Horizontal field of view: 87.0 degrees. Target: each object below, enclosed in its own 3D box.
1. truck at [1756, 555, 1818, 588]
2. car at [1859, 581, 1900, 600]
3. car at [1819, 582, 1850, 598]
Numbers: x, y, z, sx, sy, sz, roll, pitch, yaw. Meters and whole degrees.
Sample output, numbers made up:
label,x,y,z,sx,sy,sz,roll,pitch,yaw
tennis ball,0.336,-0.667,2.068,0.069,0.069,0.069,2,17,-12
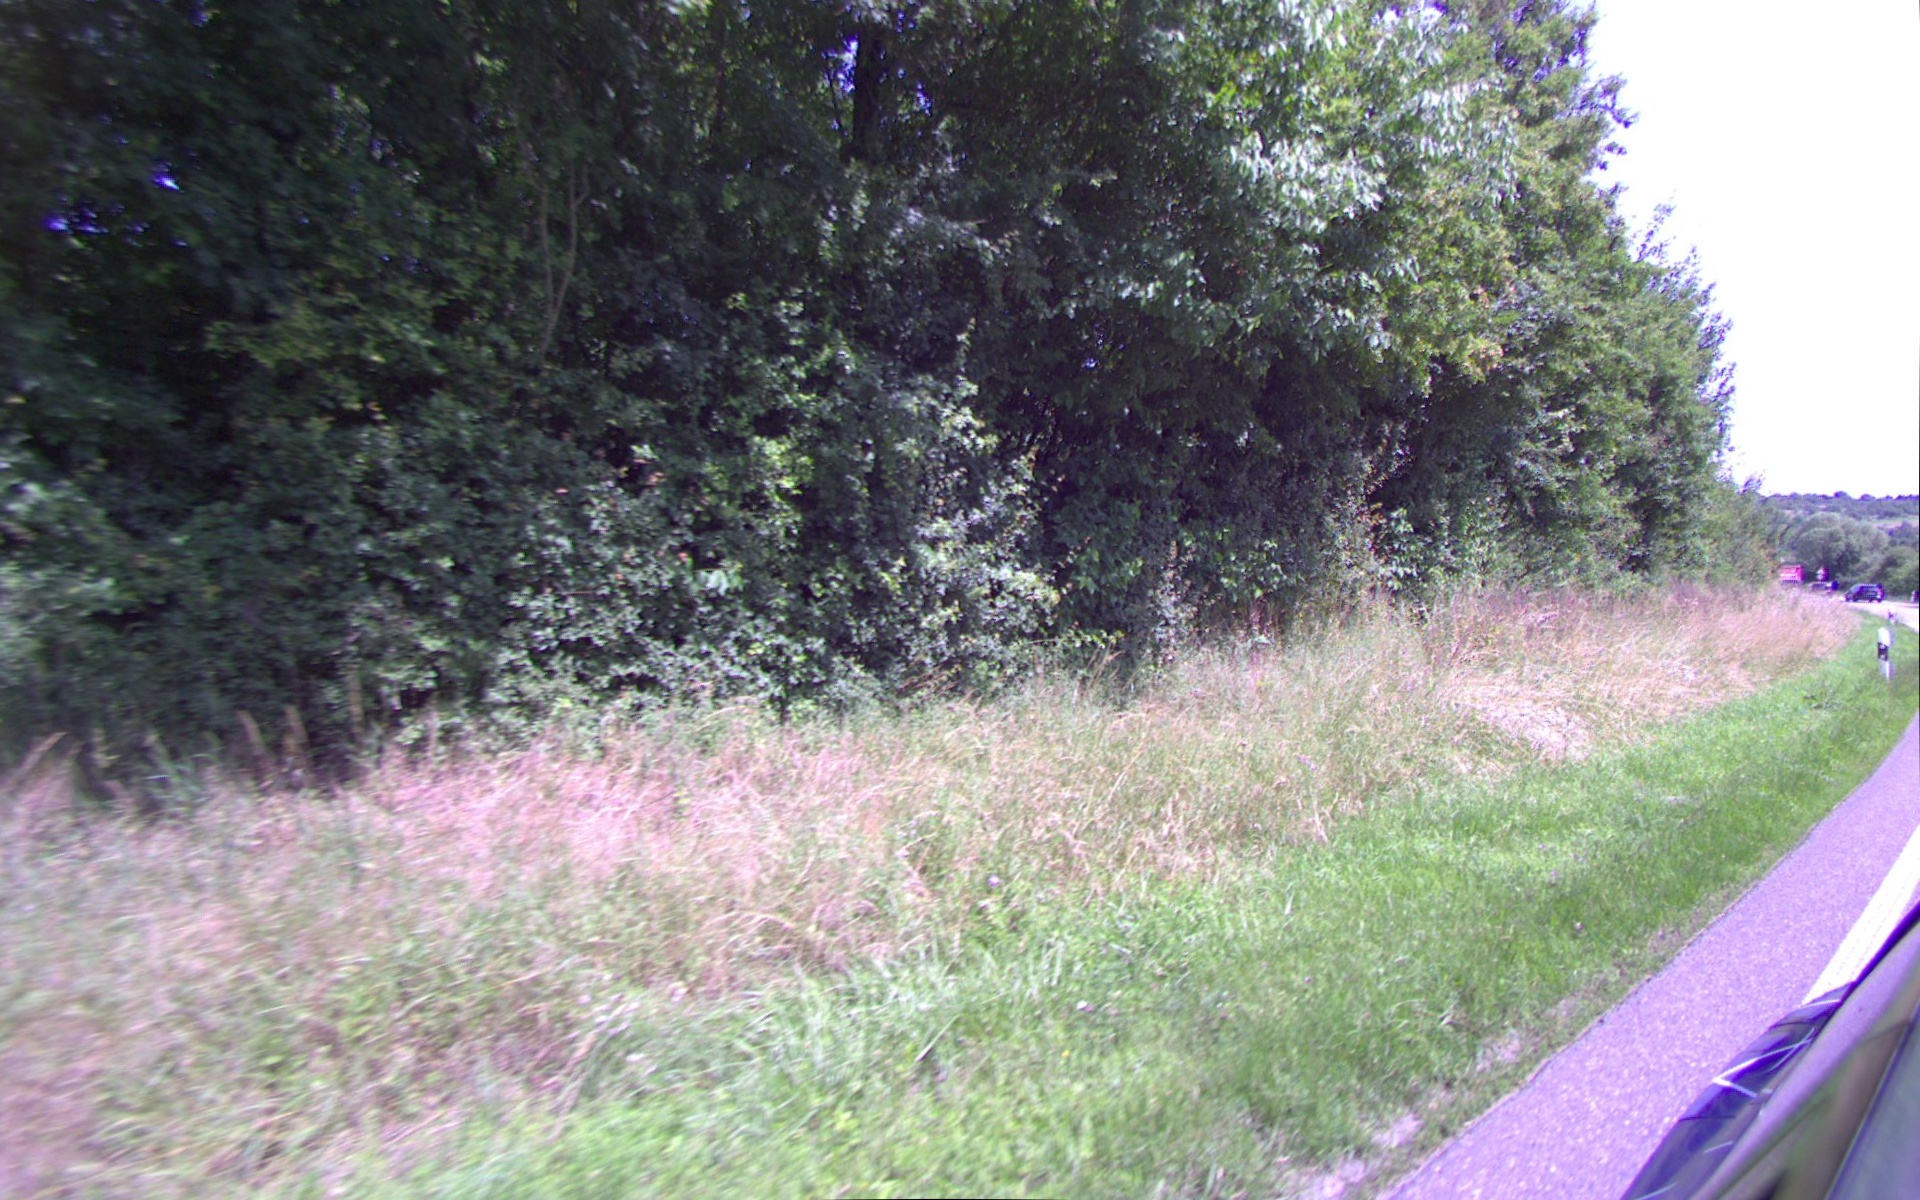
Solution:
label,x,y,z,sx,sy,sz,roll,pitch,yaw
truck,93.520,-3.148,114.692,2.536,3.495,12.520,2,2,26
car,76.193,-0.808,83.935,1.702,1.489,4.326,1,2,32
car,84.883,-1.007,98.283,1.420,1.489,3.244,1,2,26
